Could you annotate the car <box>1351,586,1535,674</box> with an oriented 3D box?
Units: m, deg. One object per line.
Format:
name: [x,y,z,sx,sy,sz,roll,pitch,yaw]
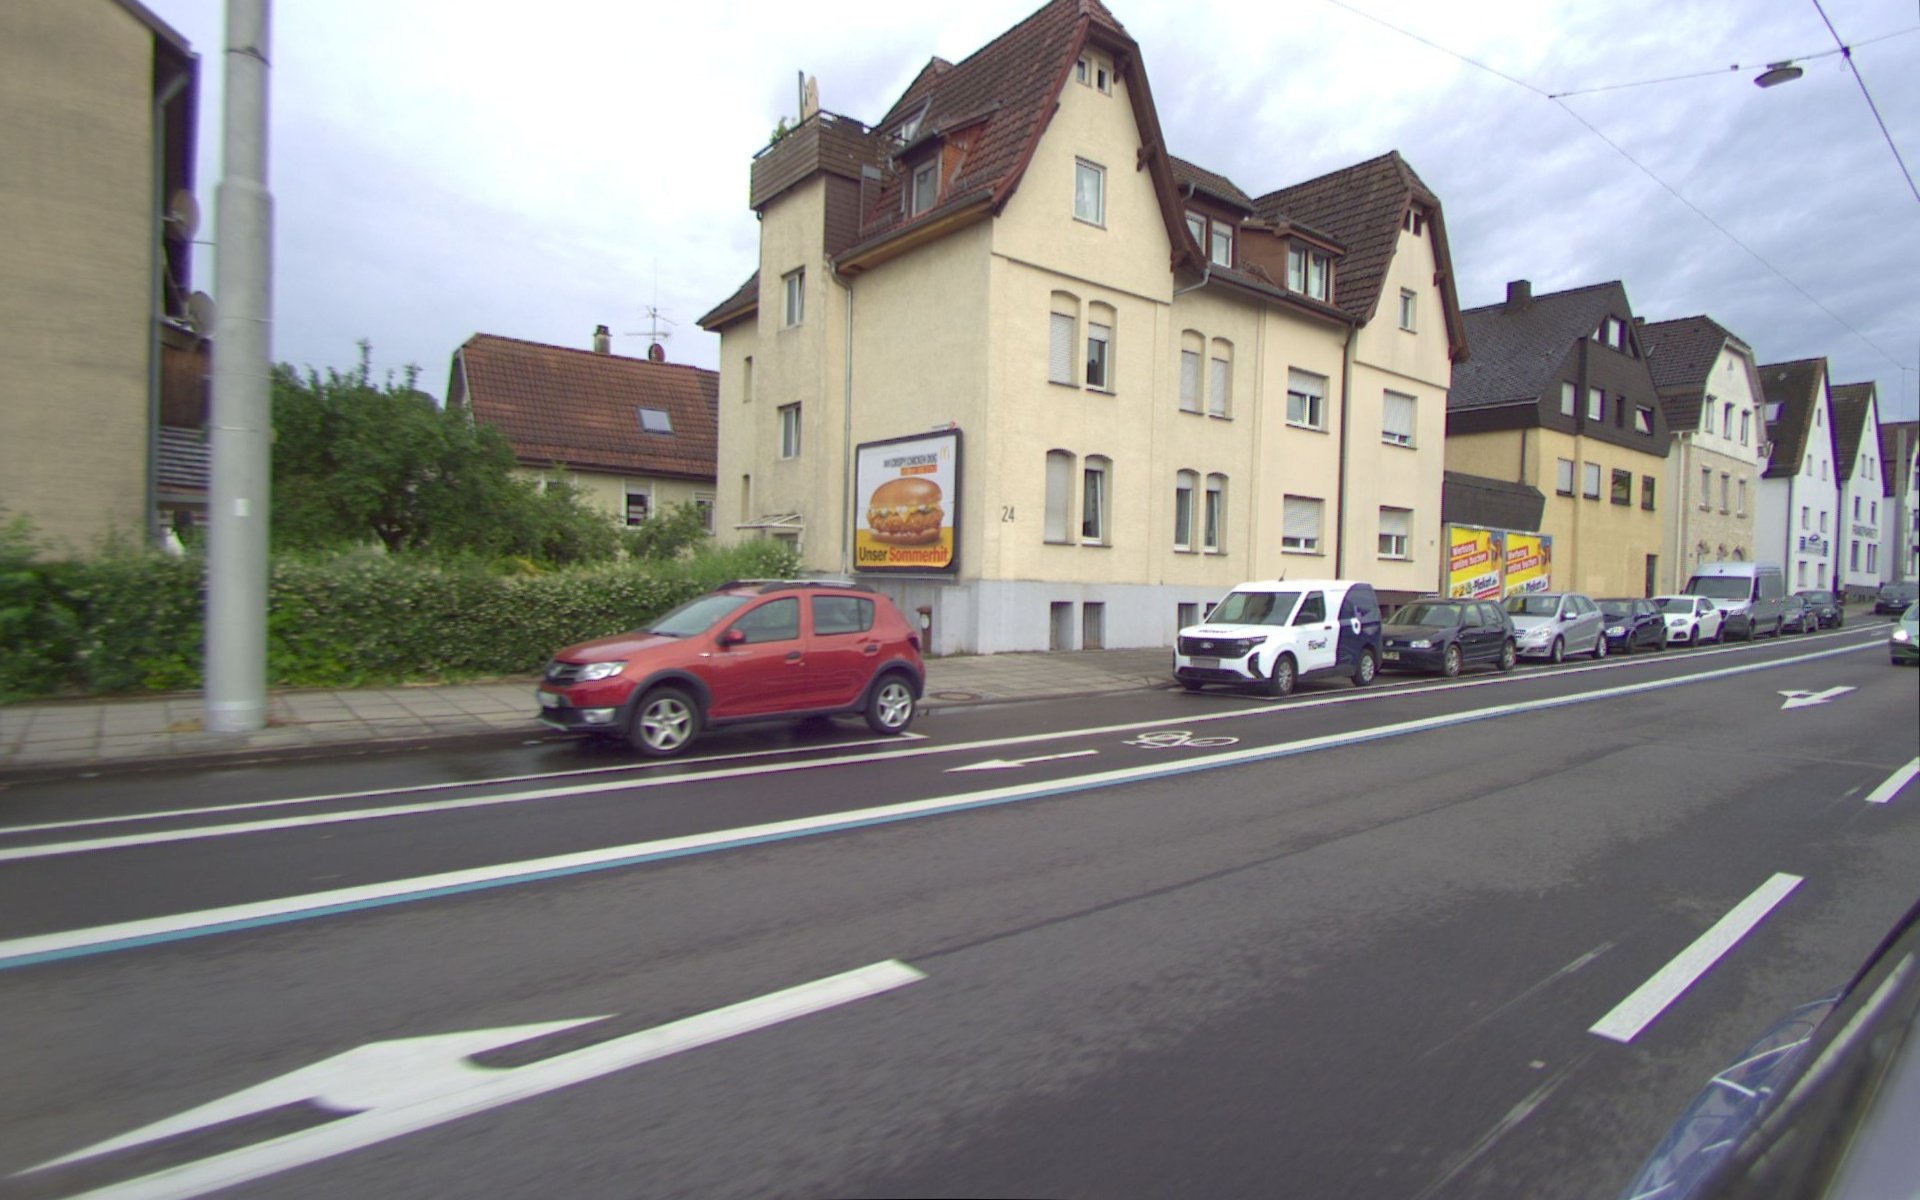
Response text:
car: [9.478,0.516,19.739,4.063,1.531,1.690,0,0,-39]

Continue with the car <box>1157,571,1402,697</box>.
car: [5.304,0.481,16.479,4.444,1.779,1.849,0,0,-42]

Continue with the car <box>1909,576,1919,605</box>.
car: [54.057,-0.541,55.964,4.124,1.567,1.726,-1,1,-38]

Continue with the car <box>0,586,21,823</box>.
car: [-7.866,0.642,5.599,3.862,1.462,1.669,0,0,-42]

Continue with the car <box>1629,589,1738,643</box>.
car: [21.324,0.421,29.776,4.125,1.483,1.604,0,0,-39]

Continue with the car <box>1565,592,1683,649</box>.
car: [17.671,0.495,26.884,3.723,1.419,1.604,0,0,-39]

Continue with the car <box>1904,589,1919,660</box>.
car: [22.049,0.497,21.961,4.128,1.467,1.886,-1,1,-41]

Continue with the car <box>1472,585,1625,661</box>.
car: [13.602,0.454,23.306,4.206,1.586,1.705,-1,1,-39]

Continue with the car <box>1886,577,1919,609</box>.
car: [49.853,-0.385,52.709,4.124,1.567,1.726,-1,1,-38]

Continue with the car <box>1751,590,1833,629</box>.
car: [30.909,0.309,37.551,4.014,1.362,1.725,-1,1,-41]

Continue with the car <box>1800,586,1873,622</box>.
car: [35.719,0.143,41.206,4.128,1.362,1.725,-1,1,-41]

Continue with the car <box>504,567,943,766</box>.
car: [-2.294,0.541,10.417,4.027,1.648,1.840,0,0,-41]

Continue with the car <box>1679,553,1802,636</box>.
car: [25.834,-0.208,33.405,5.817,2.530,2.044,-1,1,-40]
